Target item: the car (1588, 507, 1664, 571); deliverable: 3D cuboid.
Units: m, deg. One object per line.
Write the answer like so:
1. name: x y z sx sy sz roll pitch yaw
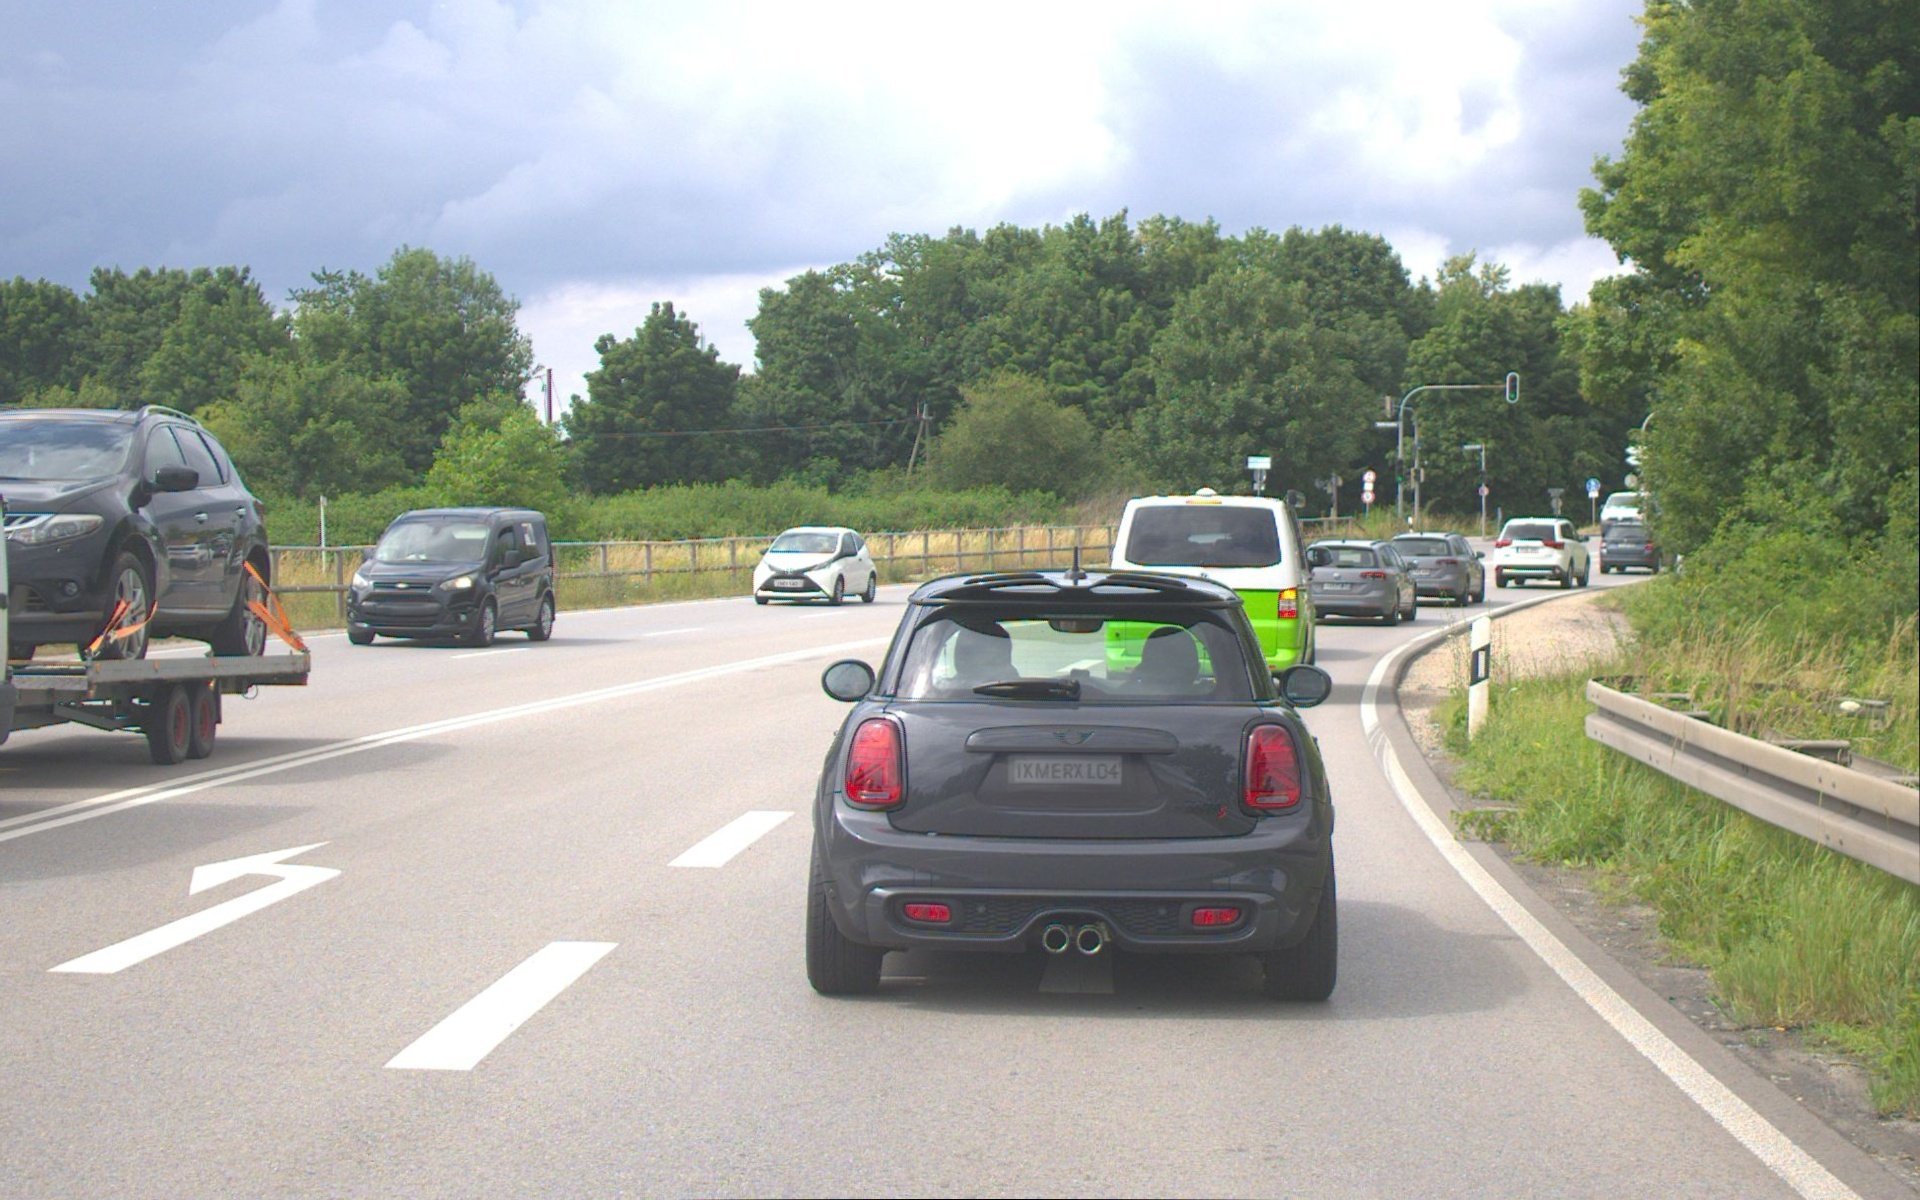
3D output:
1. car: 18.662 -1.703 96.418 1.994 1.678 3.998 2 1 10

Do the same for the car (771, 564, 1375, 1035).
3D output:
1. car: 0.329 0.602 12.611 1.845 1.423 3.841 1 1 -1

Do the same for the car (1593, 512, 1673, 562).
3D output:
1. car: 27.851 -2.612 142.212 1.996 2.007 4.660 2 2 27

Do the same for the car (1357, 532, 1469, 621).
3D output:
1. car: 9.175 -0.473 69.456 1.994 1.678 3.975 2 1 10

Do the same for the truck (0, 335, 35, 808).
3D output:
1. truck: -6.060 -0.128 15.735 2.023 2.436 5.024 1 1 3

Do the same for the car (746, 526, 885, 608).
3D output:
1. car: -2.708 -0.649 65.216 1.877 1.484 3.742 1 1 9

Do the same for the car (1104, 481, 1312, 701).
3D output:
1. car: 2.471 -0.098 33.465 1.845 1.980 3.840 1 1 6

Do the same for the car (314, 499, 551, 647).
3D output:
1. car: -6.764 -0.386 44.552 1.994 1.791 4.319 1 1 6

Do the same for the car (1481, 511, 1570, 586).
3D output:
1. car: 13.678 -1.227 82.950 1.994 1.678 3.998 2 1 10

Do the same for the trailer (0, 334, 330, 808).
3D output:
1. trailer: -5.733 -0.233 21.174 2.023 2.436 6.965 1 1 3

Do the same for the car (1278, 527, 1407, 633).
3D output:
1. car: 6.555 -0.345 58.619 1.994 1.678 3.999 2 1 8
